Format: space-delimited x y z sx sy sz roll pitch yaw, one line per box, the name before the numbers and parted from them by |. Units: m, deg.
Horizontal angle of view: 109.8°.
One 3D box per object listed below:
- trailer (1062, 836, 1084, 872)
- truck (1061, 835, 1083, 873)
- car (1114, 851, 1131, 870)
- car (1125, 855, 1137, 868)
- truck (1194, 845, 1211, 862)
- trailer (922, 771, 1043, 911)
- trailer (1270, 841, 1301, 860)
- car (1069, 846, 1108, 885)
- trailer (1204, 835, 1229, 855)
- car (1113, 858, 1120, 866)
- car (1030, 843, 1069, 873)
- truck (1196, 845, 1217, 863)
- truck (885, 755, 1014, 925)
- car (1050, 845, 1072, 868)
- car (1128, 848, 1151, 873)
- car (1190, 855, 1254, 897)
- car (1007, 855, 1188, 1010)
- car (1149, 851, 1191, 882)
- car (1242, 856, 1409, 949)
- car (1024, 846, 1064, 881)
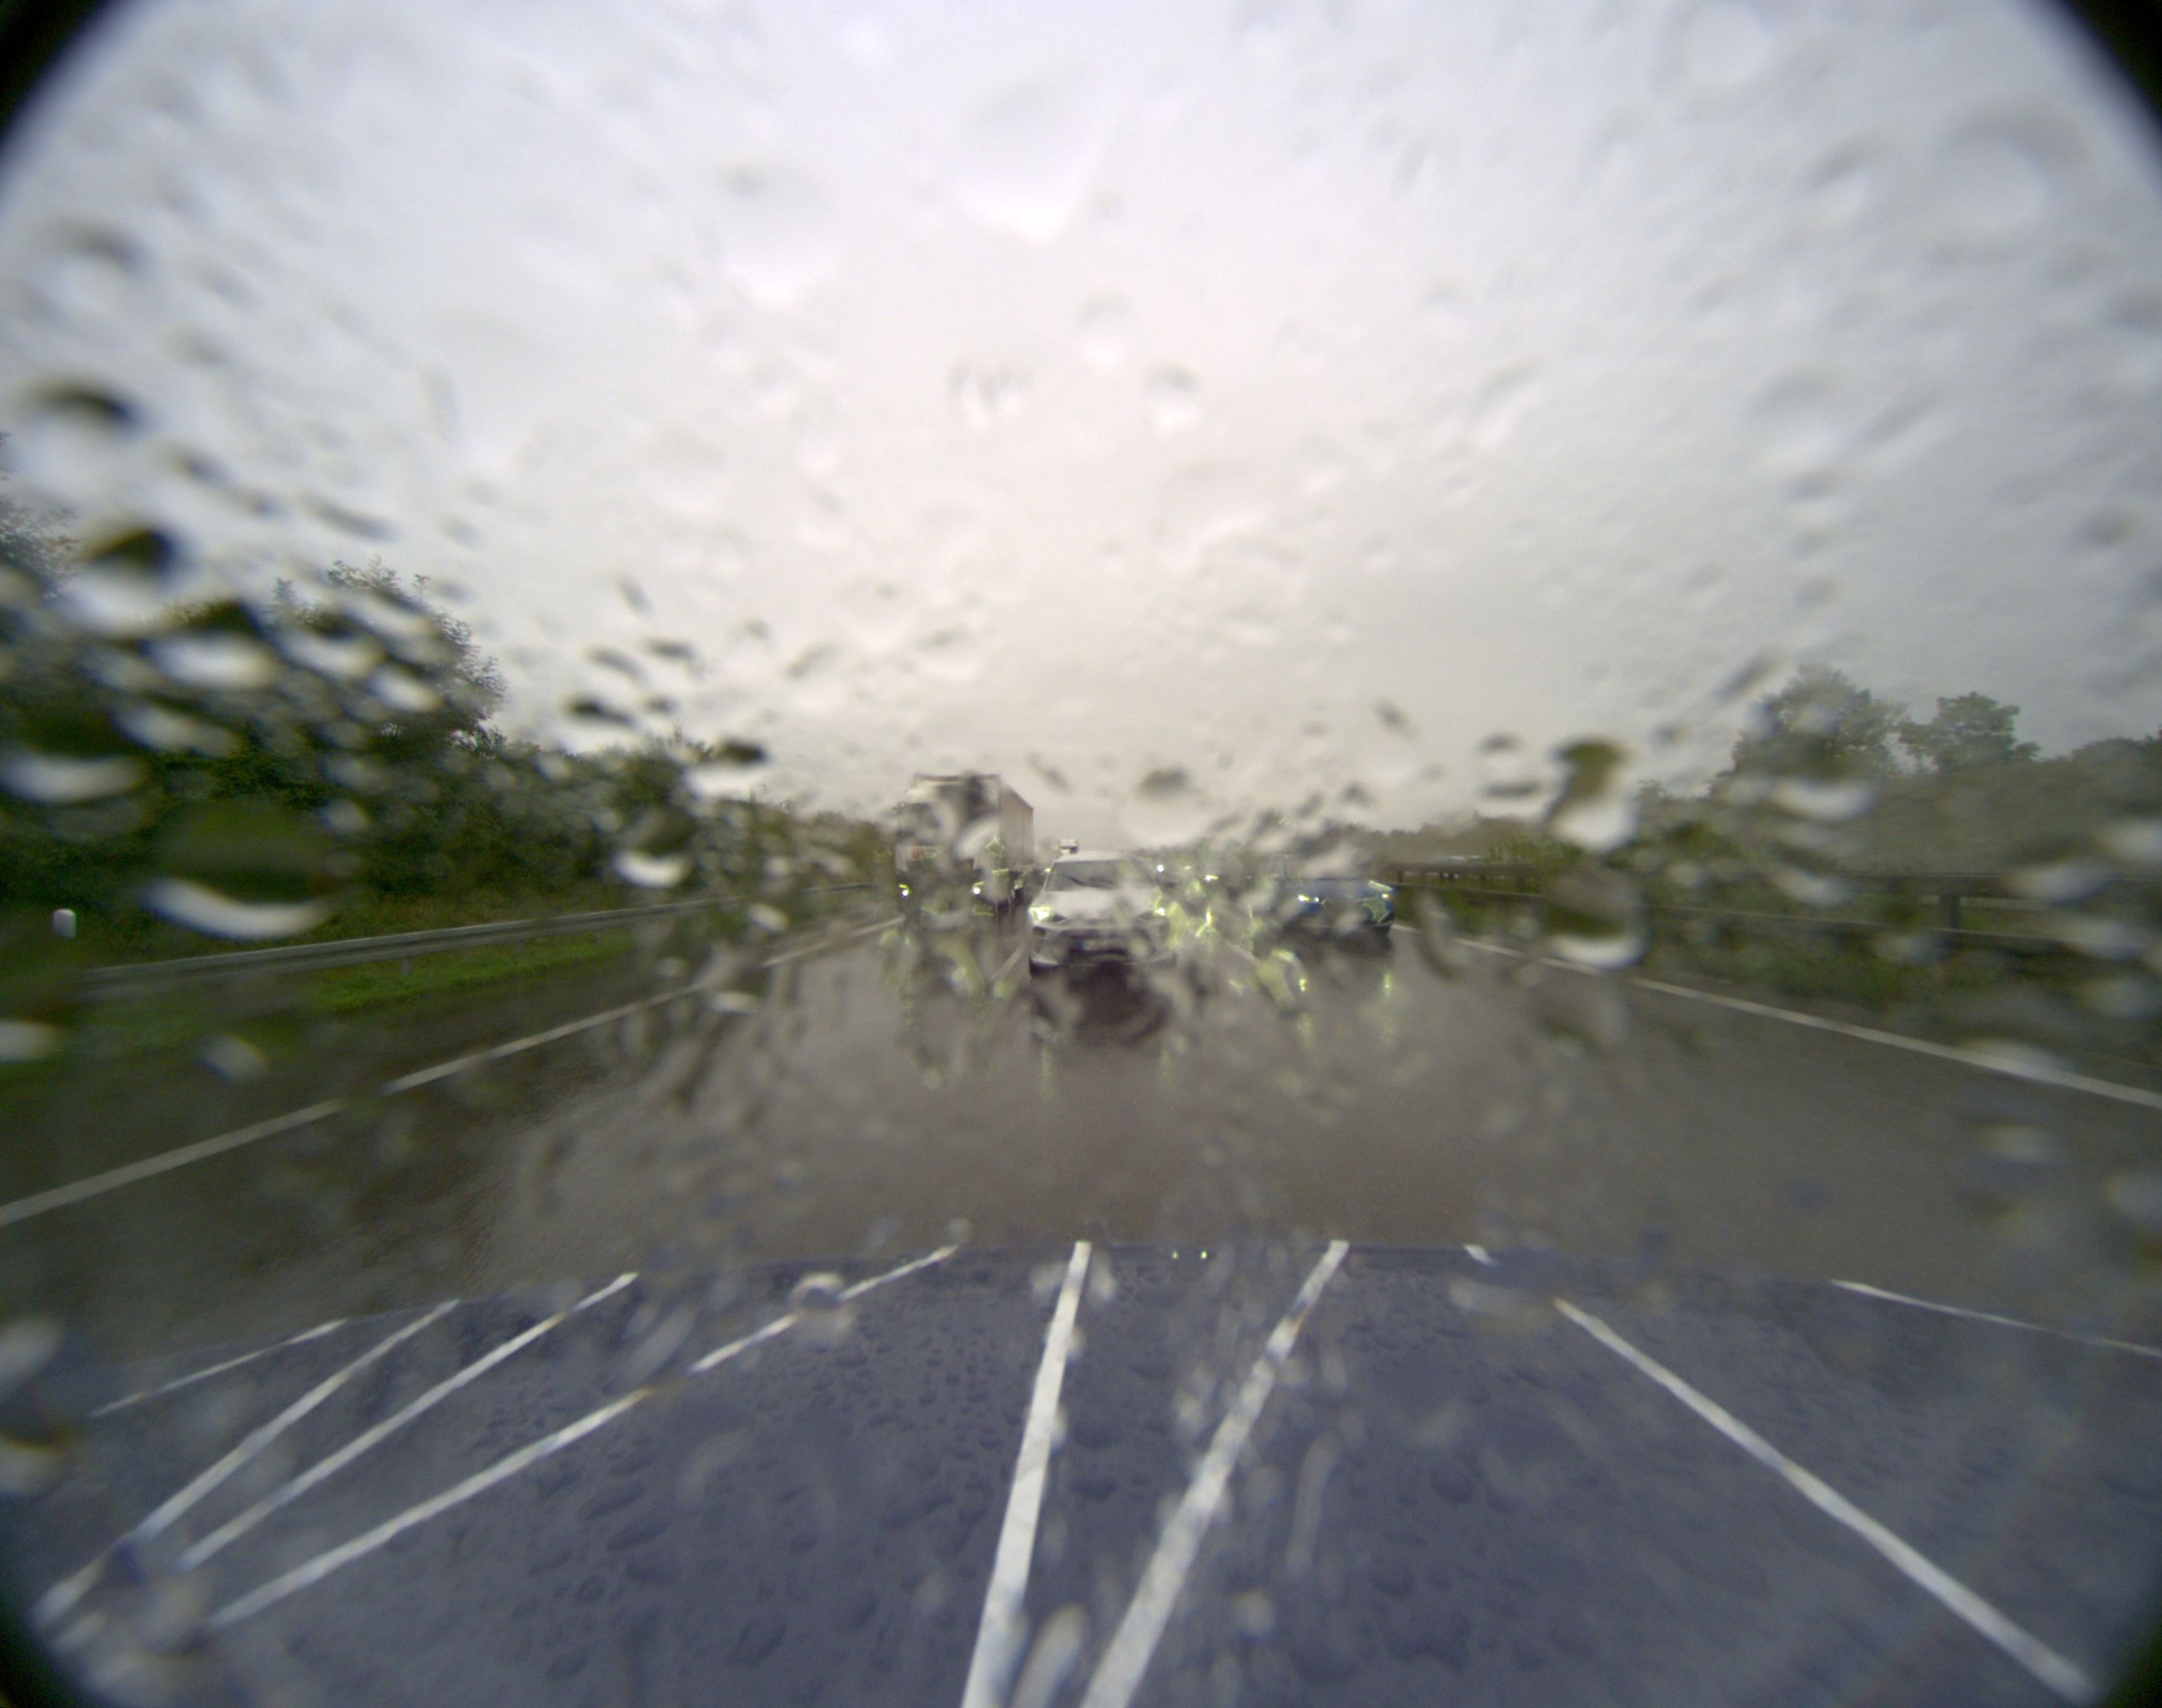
trailer | -1.030 0.072 103.407 2.628 4.635 9.222 -2 0 1
truck | -1.153 0.008 98.093 2.628 4.635 4.290 -2 0 1
car | 4.644 0.740 85.401 1.737 2.002 4.223 -1 0 1
car | 6.361 0.900 97.291 1.458 1.540 2.804 0 2 1
truck | 23.908 -0.186 149.548 2.547 3.261 5.197 1 1 0
trailer | -3.414 -0.458 30.624 2.633 4.224 14.175 -2 0 1
trailer | 23.043 -0.386 85.885 2.097 2.002 5.348 0 2 0
car | 0.480 0.618 41.851 1.998 2.002 4.000 -1 0 2
trailer | 19.245 -1.343 108.625 2.487 2.704 7.323 0 2 2
car | 6.689 1.536 143.655 1.279 1.567 2.848 -1 0 1
car | -2.179 0.245 53.543 2.260 2.002 4.270 -2 1 4
truck | 23.843 -0.015 145.077 2.561 3.279 9.346 0 2 1
truck | -3.558 -0.370 21.826 2.633 4.229 5.043 -2 1 0
car | -1.938 0.275 76.432 1.998 2.231 4.000 -1 0 1
car | 4.962 0.561 64.609 1.888 2.002 4.270 -1 0 4
car | 5.165 0.763 28.374 1.613 1.428 4.370 -1 0 1
car | 0.206 0.845 10.109 1.893 1.578 4.000 -2 0 1
car | 4.996 0.683 43.236 1.888 1.622 4.269 -1 0 1
car | 4.448 0.792 14.609 1.790 1.467 4.512 -1 0 1
car | -2.231 0.542 47.108 1.946 2.002 4.447 -2 1 3
